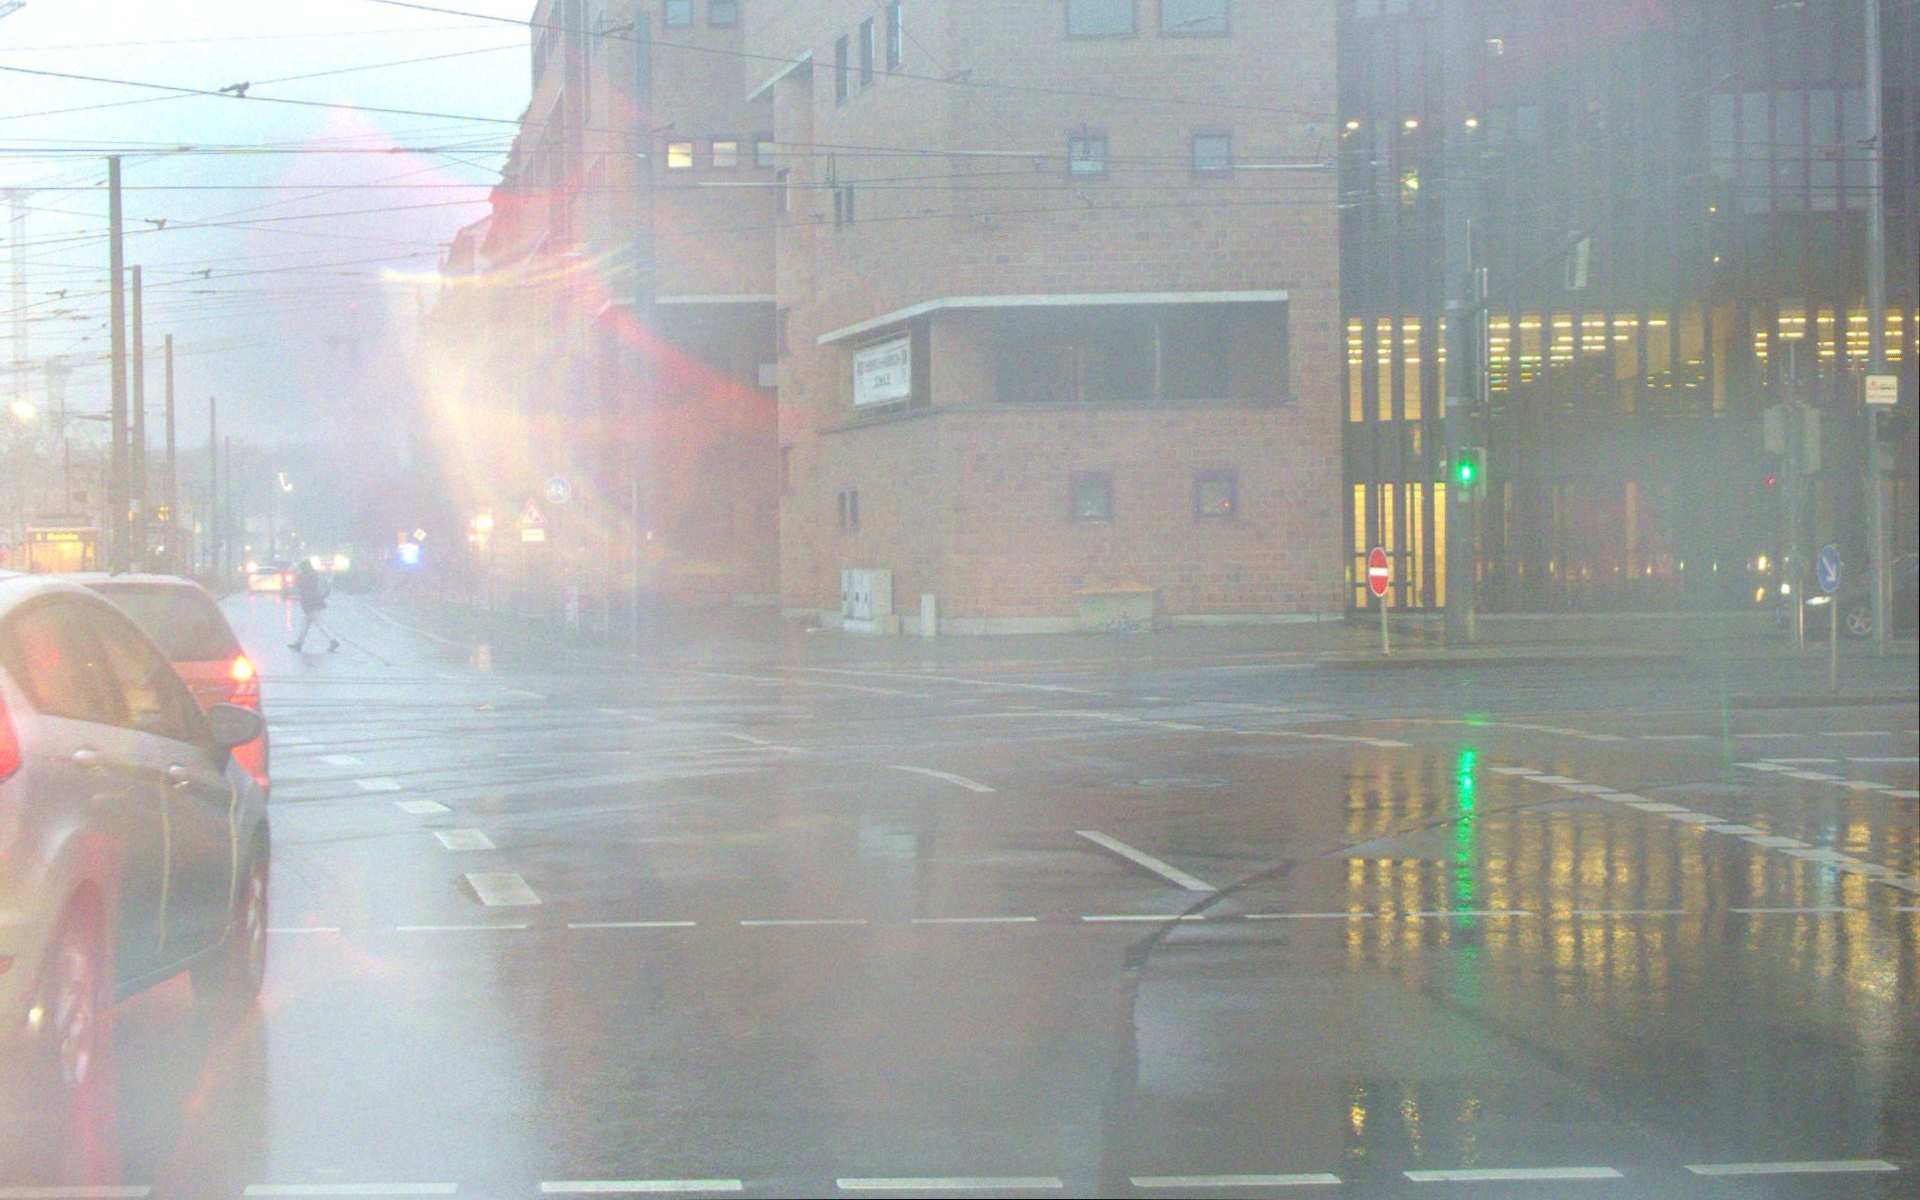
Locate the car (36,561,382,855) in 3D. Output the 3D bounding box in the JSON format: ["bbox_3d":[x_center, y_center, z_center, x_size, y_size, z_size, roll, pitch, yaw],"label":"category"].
[{"bbox_3d":[-4.295,0.522,19.356,1.697,1.454,3.758,-1,1,-15],"label":"car"}]

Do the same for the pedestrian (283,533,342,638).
[{"bbox_3d":[-12.533,-0.289,66.516,1.068,2.007,0.685,-1,1,-13],"label":"pedestrian"}]

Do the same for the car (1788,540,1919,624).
[{"bbox_3d":[15.694,-0.327,55.724,3.986,1.305,2.000,-1,1,-4],"label":"car"}]

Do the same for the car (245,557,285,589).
[{"bbox_3d":[-35.761,-1.397,176.941,1.870,1.573,4.001,1,1,-10],"label":"car"}]

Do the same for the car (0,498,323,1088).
[{"bbox_3d":[-3.171,0.533,10.155,1.705,1.443,3.999,-2,-1,1],"label":"car"}]
